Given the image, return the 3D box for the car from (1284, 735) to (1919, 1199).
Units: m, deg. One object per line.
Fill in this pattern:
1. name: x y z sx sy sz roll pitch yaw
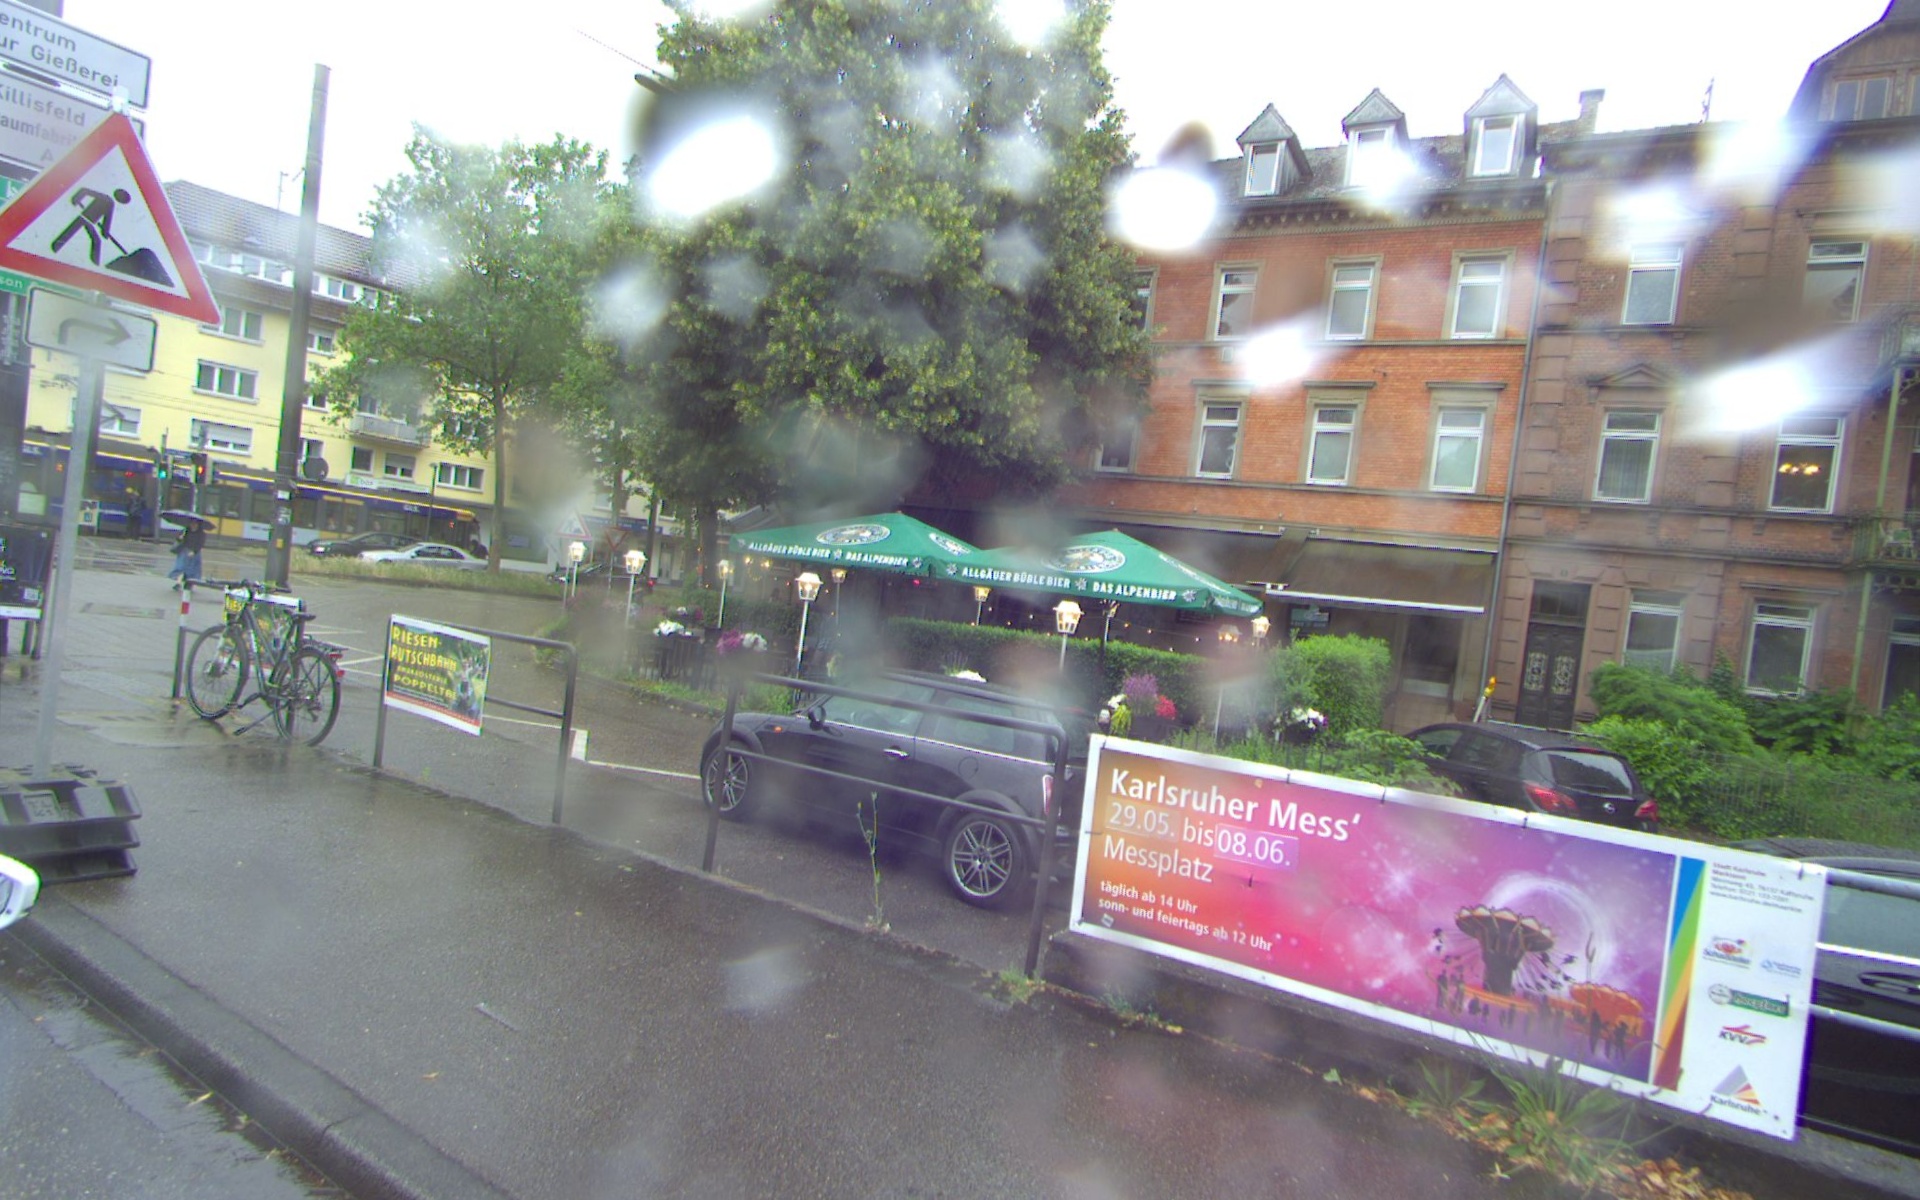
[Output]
1. car: 4.008 1.814 4.983 4.146 1.481 1.749 8 0 32

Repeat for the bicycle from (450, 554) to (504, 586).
1. bicycle: -20.121 -1.244 41.967 0.710 1.044 1.808 8 -1 42

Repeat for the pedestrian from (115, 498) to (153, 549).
1. pedestrian: -29.508 -2.728 35.952 0.806 1.698 1.008 7 1 -32

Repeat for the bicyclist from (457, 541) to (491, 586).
1. bicyclist: -20.198 -1.525 41.840 0.704 1.737 0.886 8 0 42

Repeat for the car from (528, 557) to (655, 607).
1. car: -15.507 -0.721 42.489 4.612 1.504 1.838 7 1 -45

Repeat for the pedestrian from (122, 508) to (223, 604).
1. pedestrian: -15.575 -0.852 19.937 1.089 1.687 0.995 8 0 -13

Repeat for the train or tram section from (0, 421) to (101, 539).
1. train or tram section: -34.610 -4.578 29.632 3.057 3.600 14.586 8 -1 17

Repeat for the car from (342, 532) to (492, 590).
1. car: -19.943 -1.399 37.096 1.717 1.508 4.474 9 1 45

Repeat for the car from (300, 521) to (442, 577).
1. car: -22.592 -1.933 38.707 1.853 1.520 4.264 8 1 40

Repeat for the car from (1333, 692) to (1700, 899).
1. car: 6.413 2.181 12.226 1.828 1.526 3.997 8 -1 -5

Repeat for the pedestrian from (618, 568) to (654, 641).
1. pedestrian: -7.642 0.121 23.734 0.382 1.667 0.549 8 3 33

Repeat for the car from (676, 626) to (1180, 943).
1. car: -0.320 1.240 7.836 3.459 1.518 1.649 8 -1 34

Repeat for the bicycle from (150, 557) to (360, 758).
1. bicycle: -5.170 0.387 7.342 1.762 1.182 0.423 8 -1 30

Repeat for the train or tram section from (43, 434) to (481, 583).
1. train or tram section: -28.154 -3.474 42.107 3.068 3.600 14.630 8 -1 37
